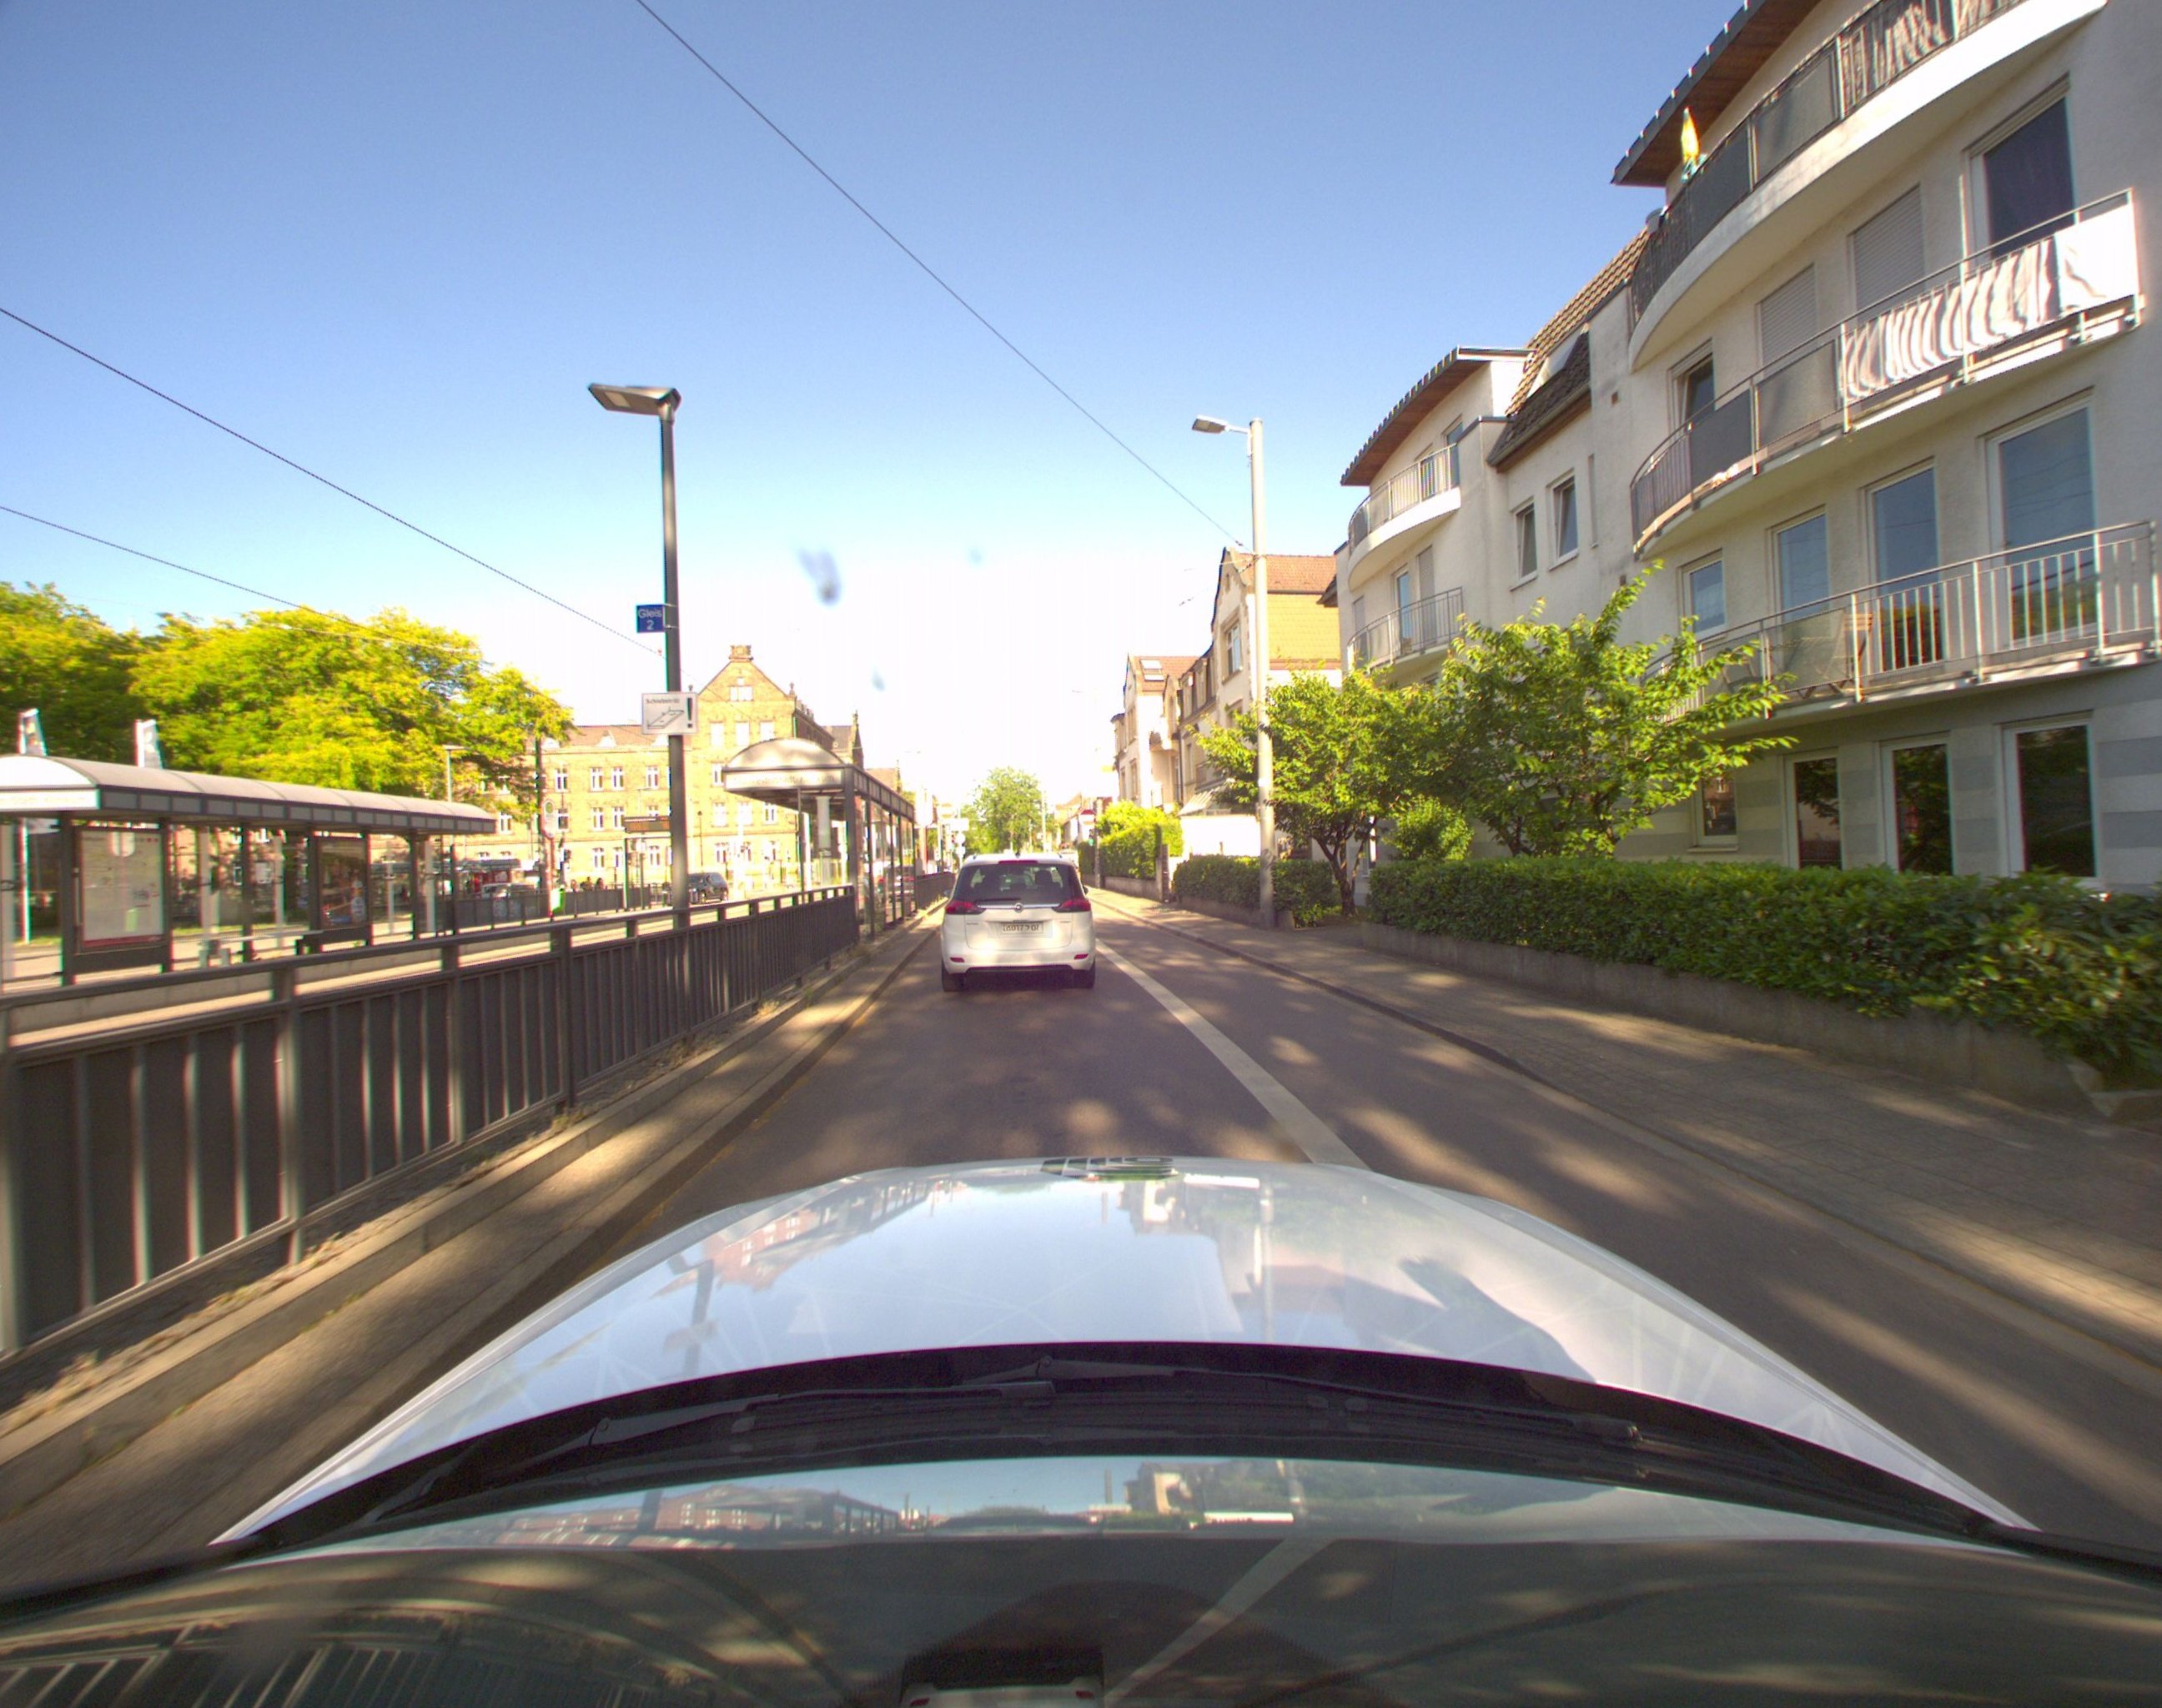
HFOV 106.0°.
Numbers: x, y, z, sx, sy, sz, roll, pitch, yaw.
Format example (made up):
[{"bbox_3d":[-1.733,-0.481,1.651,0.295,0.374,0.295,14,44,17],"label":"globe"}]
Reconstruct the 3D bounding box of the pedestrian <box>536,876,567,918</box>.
[{"bbox_3d":[-24.419,1.972,37.574,0.725,1.861,1.095,-2,-1,-3],"label":"pedestrian"}]

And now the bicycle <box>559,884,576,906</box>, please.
[{"bbox_3d":[-25.409,2.031,40.326,0.696,1.049,1.652,-1,-1,-32],"label":"bicycle"}]

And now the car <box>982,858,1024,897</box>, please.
[{"bbox_3d":[-3.561,1.062,37.285,1.773,1.632,3.872,-2,-1,-6],"label":"car"}]

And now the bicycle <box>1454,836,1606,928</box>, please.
[{"bbox_3d":[6.902,0.418,12.574,1.839,1.203,0.823,-6,-1,-7],"label":"bicycle"}]

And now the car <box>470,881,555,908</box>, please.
[{"bbox_3d":[-36.566,2.594,52.502,4.056,1.522,1.874,-2,-1,-4],"label":"car"}]

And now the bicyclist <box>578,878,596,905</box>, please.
[{"bbox_3d":[-30.614,2.333,50.447,0.633,1.636,0.800,-2,-1,-6],"label":"bicyclist"}]

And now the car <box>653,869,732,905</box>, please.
[{"bbox_3d":[-19.902,1.651,41.926,1.900,1.677,4.357,-2,0,0],"label":"car"}]

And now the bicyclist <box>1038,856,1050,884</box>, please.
[{"bbox_3d":[-2.244,0.948,49.144,0.684,1.634,1.014,-2,-1,-3],"label":"bicyclist"}]

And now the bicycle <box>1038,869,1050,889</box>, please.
[{"bbox_3d":[-2.228,1.503,49.160,0.684,1.157,1.617,-2,-1,-3],"label":"bicycle"}]

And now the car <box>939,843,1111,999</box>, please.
[{"bbox_3d":[-0.768,0.758,10.867,1.832,1.642,3.911,-2,-1,-5],"label":"car"}]

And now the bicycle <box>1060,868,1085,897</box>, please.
[{"bbox_3d":[-0.391,1.188,34.520,0.828,1.154,2.090,-2,-1,-6],"label":"bicycle"}]

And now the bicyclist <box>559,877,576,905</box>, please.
[{"bbox_3d":[-25.473,1.825,40.430,0.693,1.383,0.529,-1,-1,-32],"label":"bicyclist"}]

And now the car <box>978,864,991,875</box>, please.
[{"bbox_3d":[-14.861,2.396,125.882,1.772,1.692,3.875,-2,-1,-4],"label":"car"}]

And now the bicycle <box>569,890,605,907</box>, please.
[{"bbox_3d":[-30.588,2.747,50.439,1.732,1.013,0.799,-2,-1,-6],"label":"bicycle"}]

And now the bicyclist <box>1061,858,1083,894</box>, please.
[{"bbox_3d":[-0.377,0.917,34.318,0.820,1.501,0.932,-2,-1,-7],"label":"bicyclist"}]
